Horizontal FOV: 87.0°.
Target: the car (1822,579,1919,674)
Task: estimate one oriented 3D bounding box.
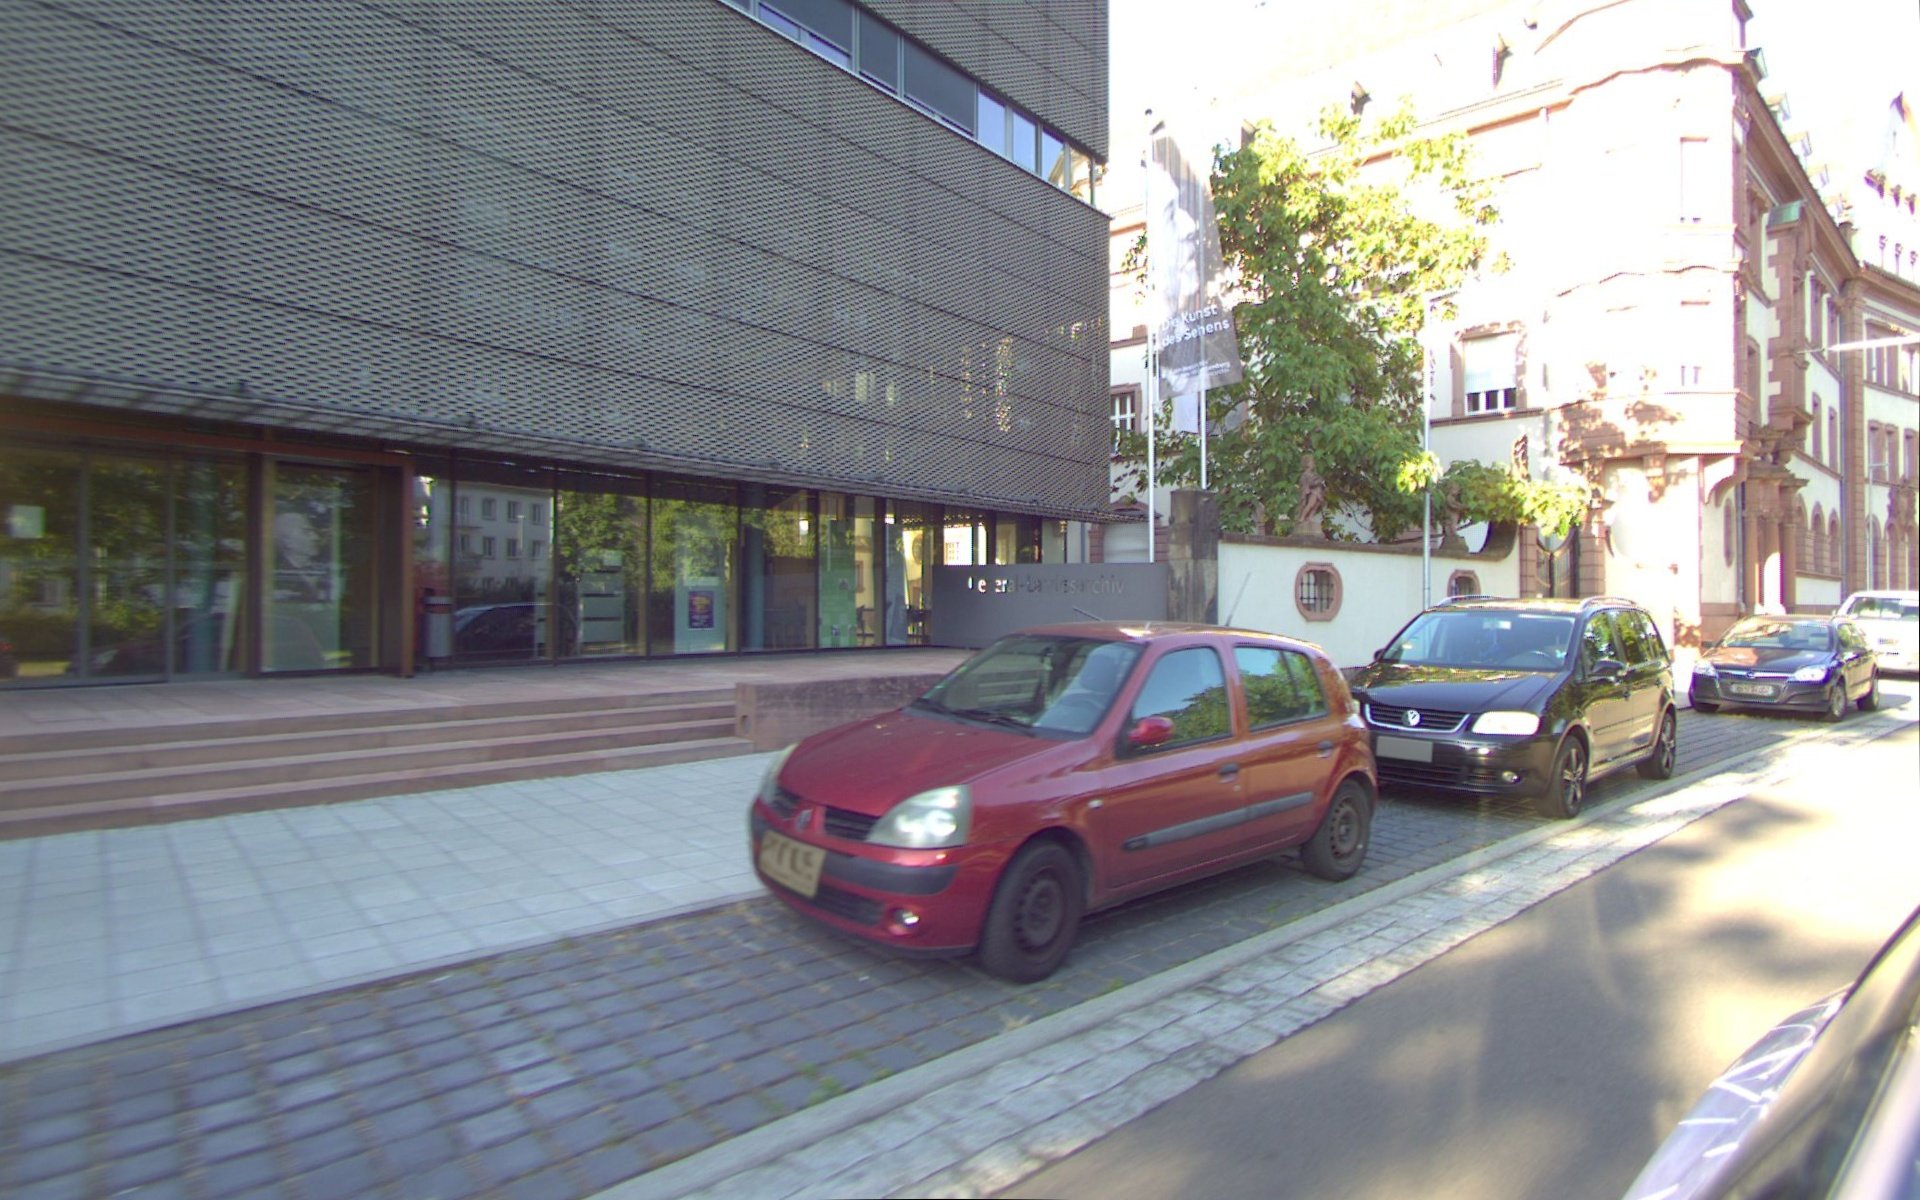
[{"bbox_3d":[21.969,0.547,23.353,4.756,1.990,2.001,0,1,-35],"label":"car"}]

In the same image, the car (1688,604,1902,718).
[{"bbox_3d":[12.898,0.820,15.543,4.397,1.485,1.751,0,1,-40],"label":"car"}]

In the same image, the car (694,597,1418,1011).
[{"bbox_3d":[0.728,0.733,5.494,3.837,1.439,1.728,1,0,-40],"label":"car"}]

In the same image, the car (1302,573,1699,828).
[{"bbox_3d":[4.807,0.665,8.743,4.043,1.690,1.727,1,1,-42],"label":"car"}]
